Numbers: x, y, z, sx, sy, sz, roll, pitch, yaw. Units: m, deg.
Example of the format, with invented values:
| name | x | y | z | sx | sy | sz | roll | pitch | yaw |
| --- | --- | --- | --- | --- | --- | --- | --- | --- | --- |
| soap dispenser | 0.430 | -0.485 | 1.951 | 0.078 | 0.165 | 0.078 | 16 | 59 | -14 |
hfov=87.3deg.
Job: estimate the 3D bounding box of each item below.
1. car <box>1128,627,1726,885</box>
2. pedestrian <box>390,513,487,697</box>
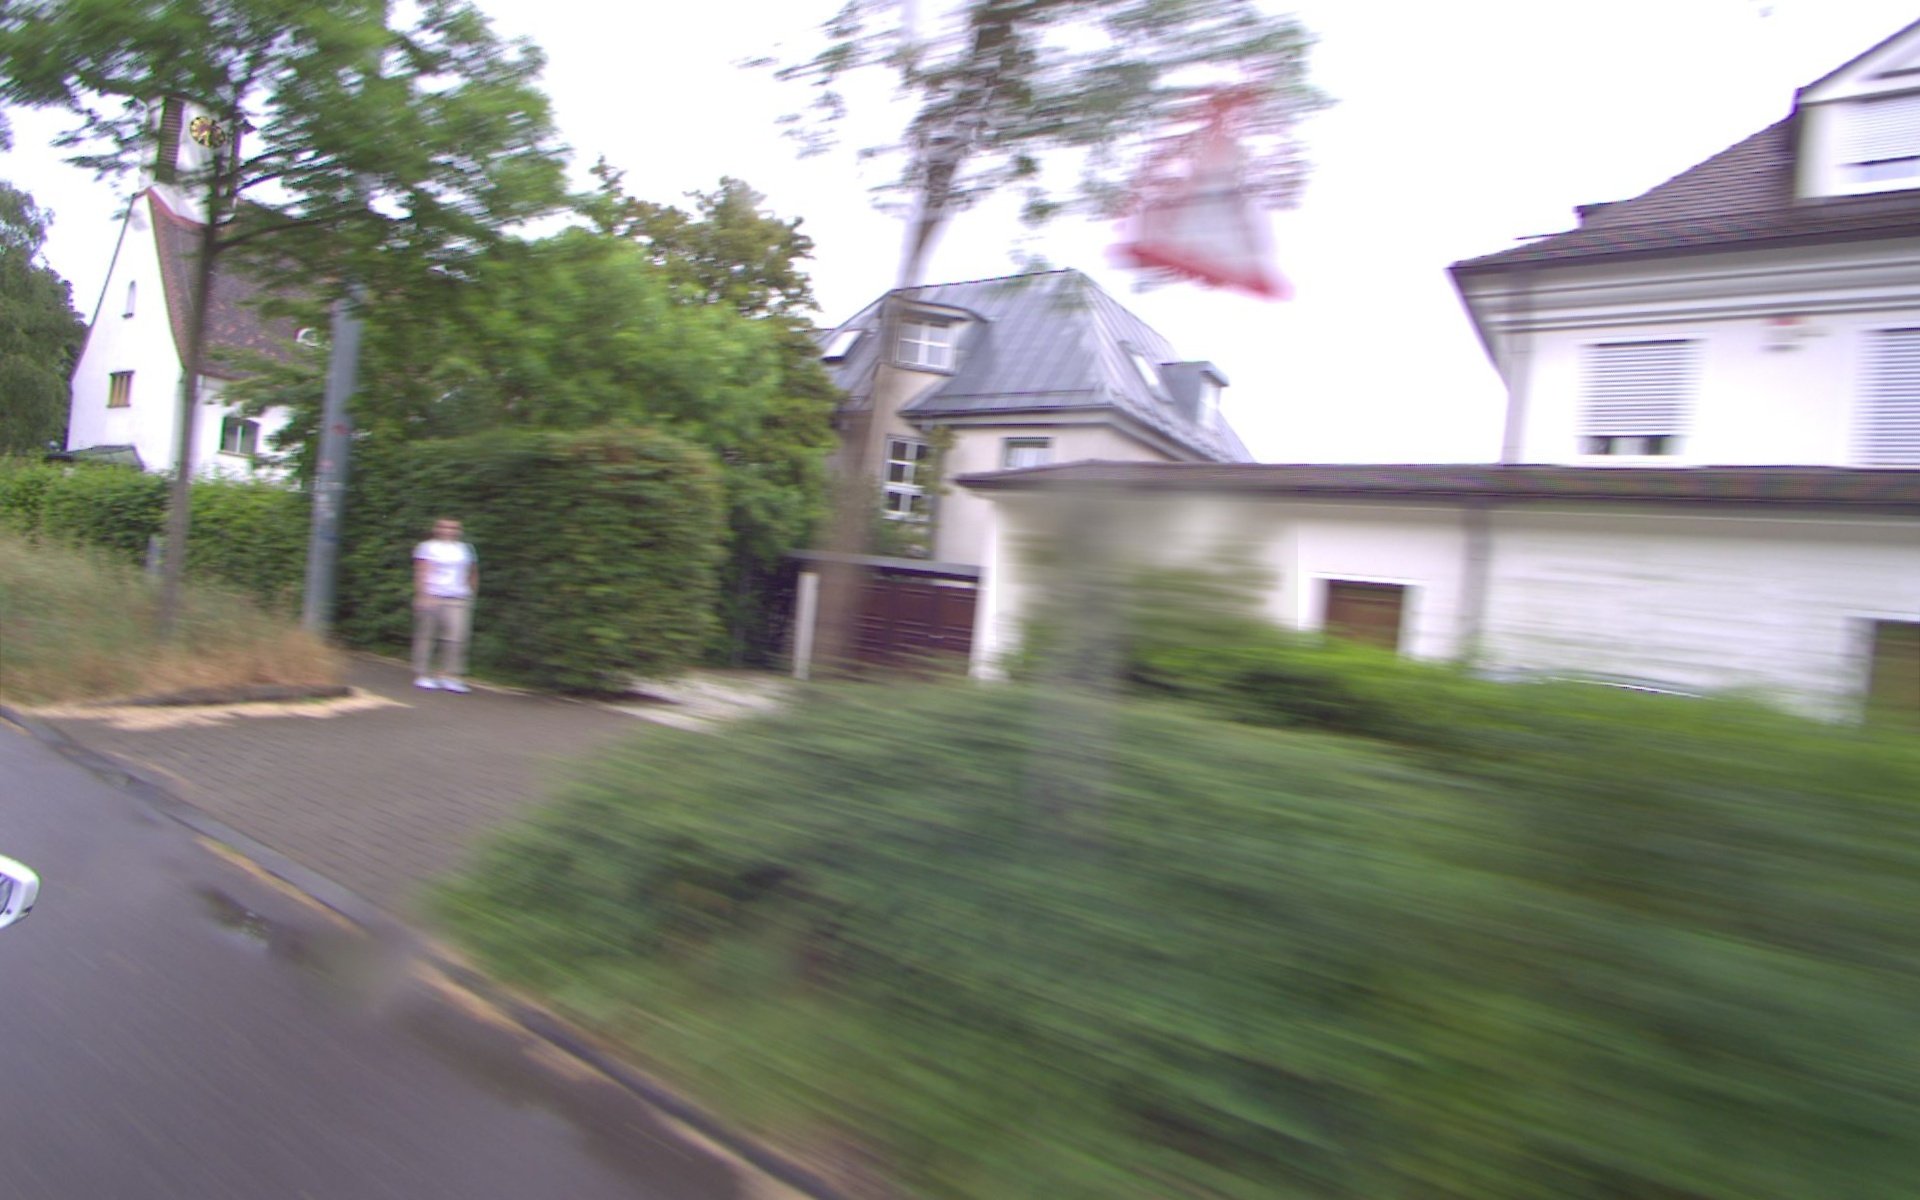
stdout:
| name | x | y | z | sx | sy | sz | roll | pitch | yaw |
| --- | --- | --- | --- | --- | --- | --- | --- | --- | --- |
| car | 3.577 | 1.068 | 8.034 | 3.941 | 1.190 | 1.831 | 6 | -2 | 39 |
| pedestrian | -5.119 | 0.055 | 9.876 | 0.509 | 1.729 | 0.560 | 6 | 0 | 44 |
